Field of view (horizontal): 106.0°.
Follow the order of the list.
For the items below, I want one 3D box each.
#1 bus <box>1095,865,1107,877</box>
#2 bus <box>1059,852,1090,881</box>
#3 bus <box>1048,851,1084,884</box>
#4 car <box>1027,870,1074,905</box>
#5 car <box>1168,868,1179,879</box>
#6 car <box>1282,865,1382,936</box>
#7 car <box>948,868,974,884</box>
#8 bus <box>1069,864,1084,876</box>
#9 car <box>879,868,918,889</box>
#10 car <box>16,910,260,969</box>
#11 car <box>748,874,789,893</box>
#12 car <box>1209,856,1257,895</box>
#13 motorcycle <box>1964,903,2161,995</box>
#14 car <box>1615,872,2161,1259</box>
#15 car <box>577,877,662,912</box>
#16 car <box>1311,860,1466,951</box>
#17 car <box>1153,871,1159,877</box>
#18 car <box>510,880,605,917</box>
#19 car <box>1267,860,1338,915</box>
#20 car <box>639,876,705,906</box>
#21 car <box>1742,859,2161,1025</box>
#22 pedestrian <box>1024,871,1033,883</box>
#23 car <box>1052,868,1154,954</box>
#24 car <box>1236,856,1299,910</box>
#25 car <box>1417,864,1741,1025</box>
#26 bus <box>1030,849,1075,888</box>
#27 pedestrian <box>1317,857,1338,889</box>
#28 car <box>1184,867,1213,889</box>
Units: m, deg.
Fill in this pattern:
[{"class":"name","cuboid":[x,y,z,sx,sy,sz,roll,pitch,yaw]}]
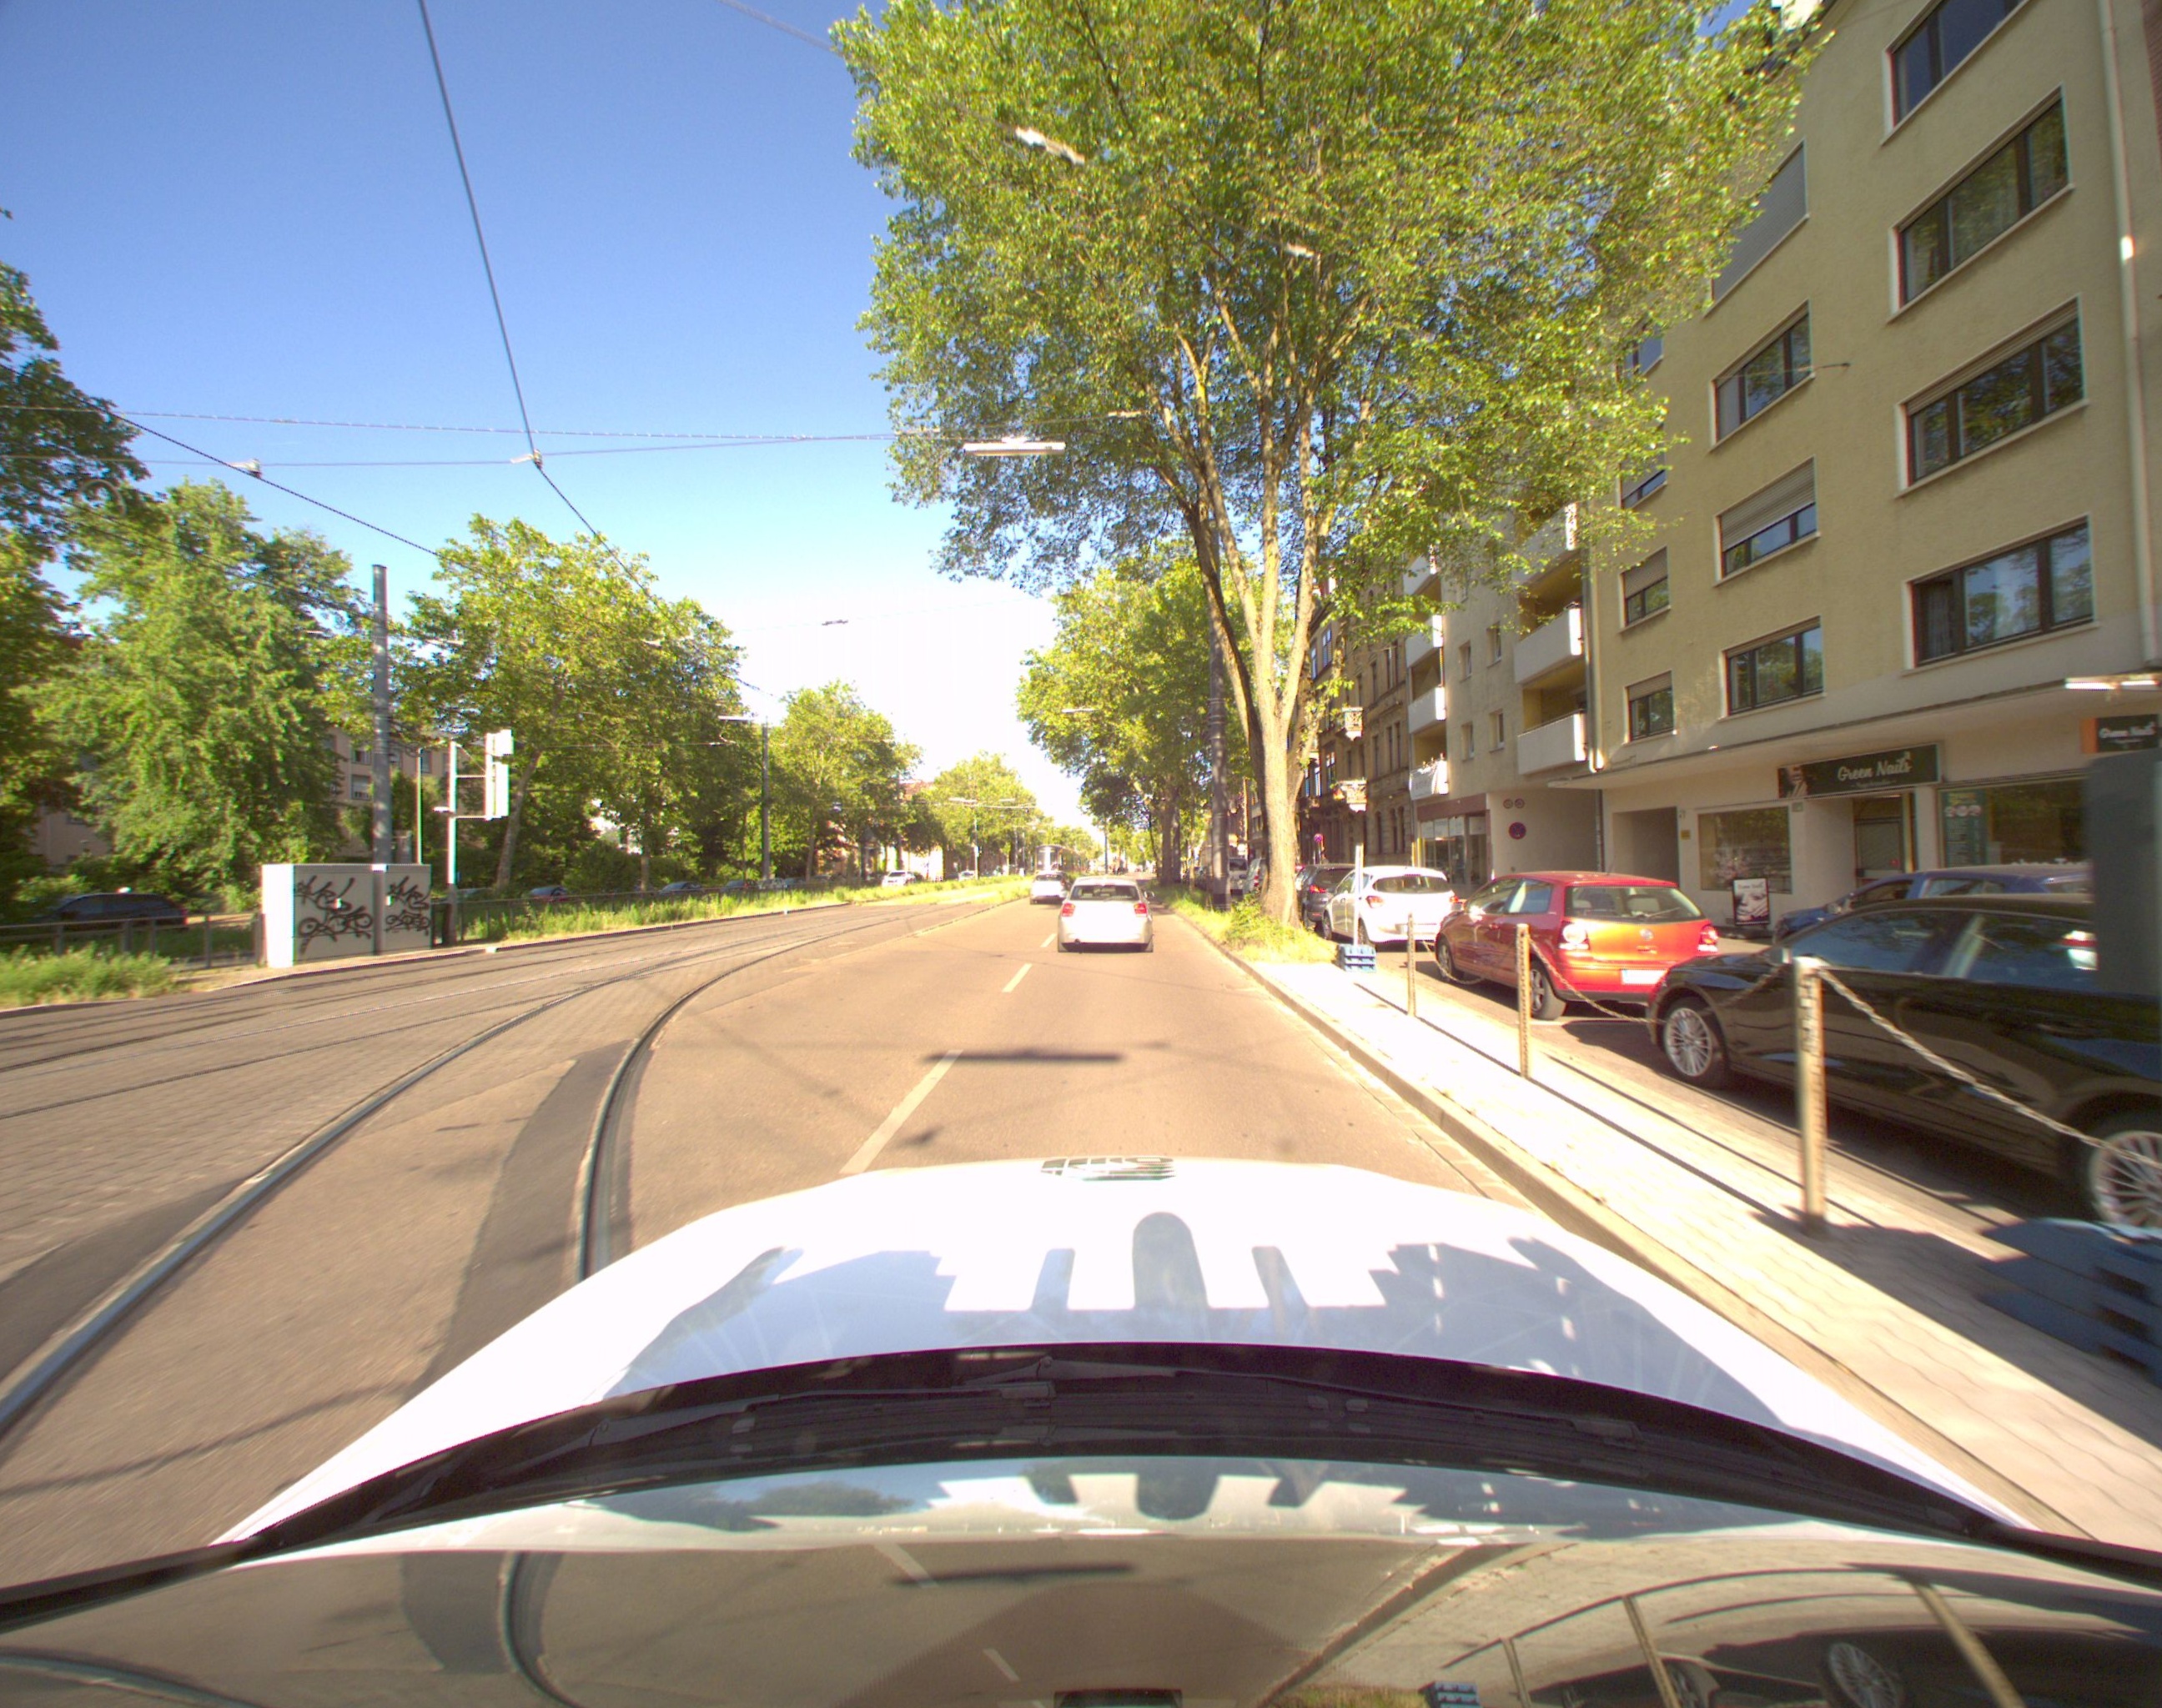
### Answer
[{"class":"bus","cuboid":[6.291,5.310,256.461,2.737,3.626,18.867,0,-1,4]},{"class":"bus","cuboid":[-0.691,1.602,102.849,2.856,3.444,11.623,-1,-1,4]},{"class":"bus","cuboid":[-1.556,1.480,90.878,2.856,3.444,12.228,-1,-1,4]},{"class":"car","cuboid":[-1.302,1.442,36.106,1.639,1.363,3.764,1,-1,4]},{"class":"car","cuboid":[17.451,3.632,154.020,1.747,1.965,4.742,0,-1,4]},{"class":"car","cuboid":[5.891,1.031,19.511,1.554,1.485,3.792,1,-1,6]},{"class":"car","cuboid":[-12.143,2.212,82.656,1.838,1.530,3.876,1,-1,2]},{"class":"bus","cuboid":[-1.243,5.147,259.626,2.856,3.629,24.629,0,-1,4]},{"class":"car","cuboid":[-14.729,1.945,66.096,1.878,1.619,4.601,1,-1,3]},{"class":"car","cuboid":[-24.833,2.193,21.701,1.588,1.223,4.028,1,-1,4]},{"class":"car","cuboid":[-23.637,2.208,61.716,1.561,1.312,3.507,1,-1,4]},{"class":"car","cuboid":[7.531,1.043,40.674,1.856,1.816,4.806,1,-1,5]},{"class":"motorcycle","cuboid":[12.075,1.111,9.983,0.483,0.895,1.874,-3,-1,3]},{"class":"car","cuboid":[5.032,0.850,4.453,1.689,1.421,4.173,1,-1,3]},{"class":"car","cuboid":[-25.176,2.155,44.636,1.986,1.683,4.515,1,-1,1]},{"class":"car","cuboid":[5.619,0.870,15.342,1.620,1.477,3.699,1,-1,2]},{"class":"car","cuboid":[22.115,5.945,240.480,1.693,1.534,3.720,1,-1,4]},{"class":"car","cuboid":[-25.611,2.135,40.028,1.986,1.622,4.001,1,-1,1]},{"class":"car","cuboid":[6.403,0.926,23.849,1.504,1.480,3.498,1,-1,7]},{"class":"car","cuboid":[-24.939,2.226,49.762,1.814,1.683,4.002,1,-1,3]},{"class":"car","cuboid":[10.386,0.852,9.744,1.687,1.480,4.001,-3,-1,1]},{"class":"pedestrian","cuboid":[-7.404,3.224,114.930,1.174,1.644,0.891,0,-2,-4]},{"class":"car","cuboid":[0.505,1.036,16.315,1.755,1.432,4.003,1,-1,3]},{"class":"car","cuboid":[6.317,0.942,27.940,1.617,1.668,4.148,1,-1,6]},{"class":"car","cuboid":[5.382,0.848,9.448,1.582,1.434,3.909,1,-1,4]},{"class":"bus","cuboid":[-2.538,1.351,78.223,2.856,3.444,13.231,-1,-1,4]},{"class":"pedestrian","cuboid":[14.150,1.102,46.794,0.994,1.840,0.716,-1,-1,5]},{"class":"car","cuboid":[8.532,1.745,59.421,1.797,1.490,4.926,1,-1,5]}]
